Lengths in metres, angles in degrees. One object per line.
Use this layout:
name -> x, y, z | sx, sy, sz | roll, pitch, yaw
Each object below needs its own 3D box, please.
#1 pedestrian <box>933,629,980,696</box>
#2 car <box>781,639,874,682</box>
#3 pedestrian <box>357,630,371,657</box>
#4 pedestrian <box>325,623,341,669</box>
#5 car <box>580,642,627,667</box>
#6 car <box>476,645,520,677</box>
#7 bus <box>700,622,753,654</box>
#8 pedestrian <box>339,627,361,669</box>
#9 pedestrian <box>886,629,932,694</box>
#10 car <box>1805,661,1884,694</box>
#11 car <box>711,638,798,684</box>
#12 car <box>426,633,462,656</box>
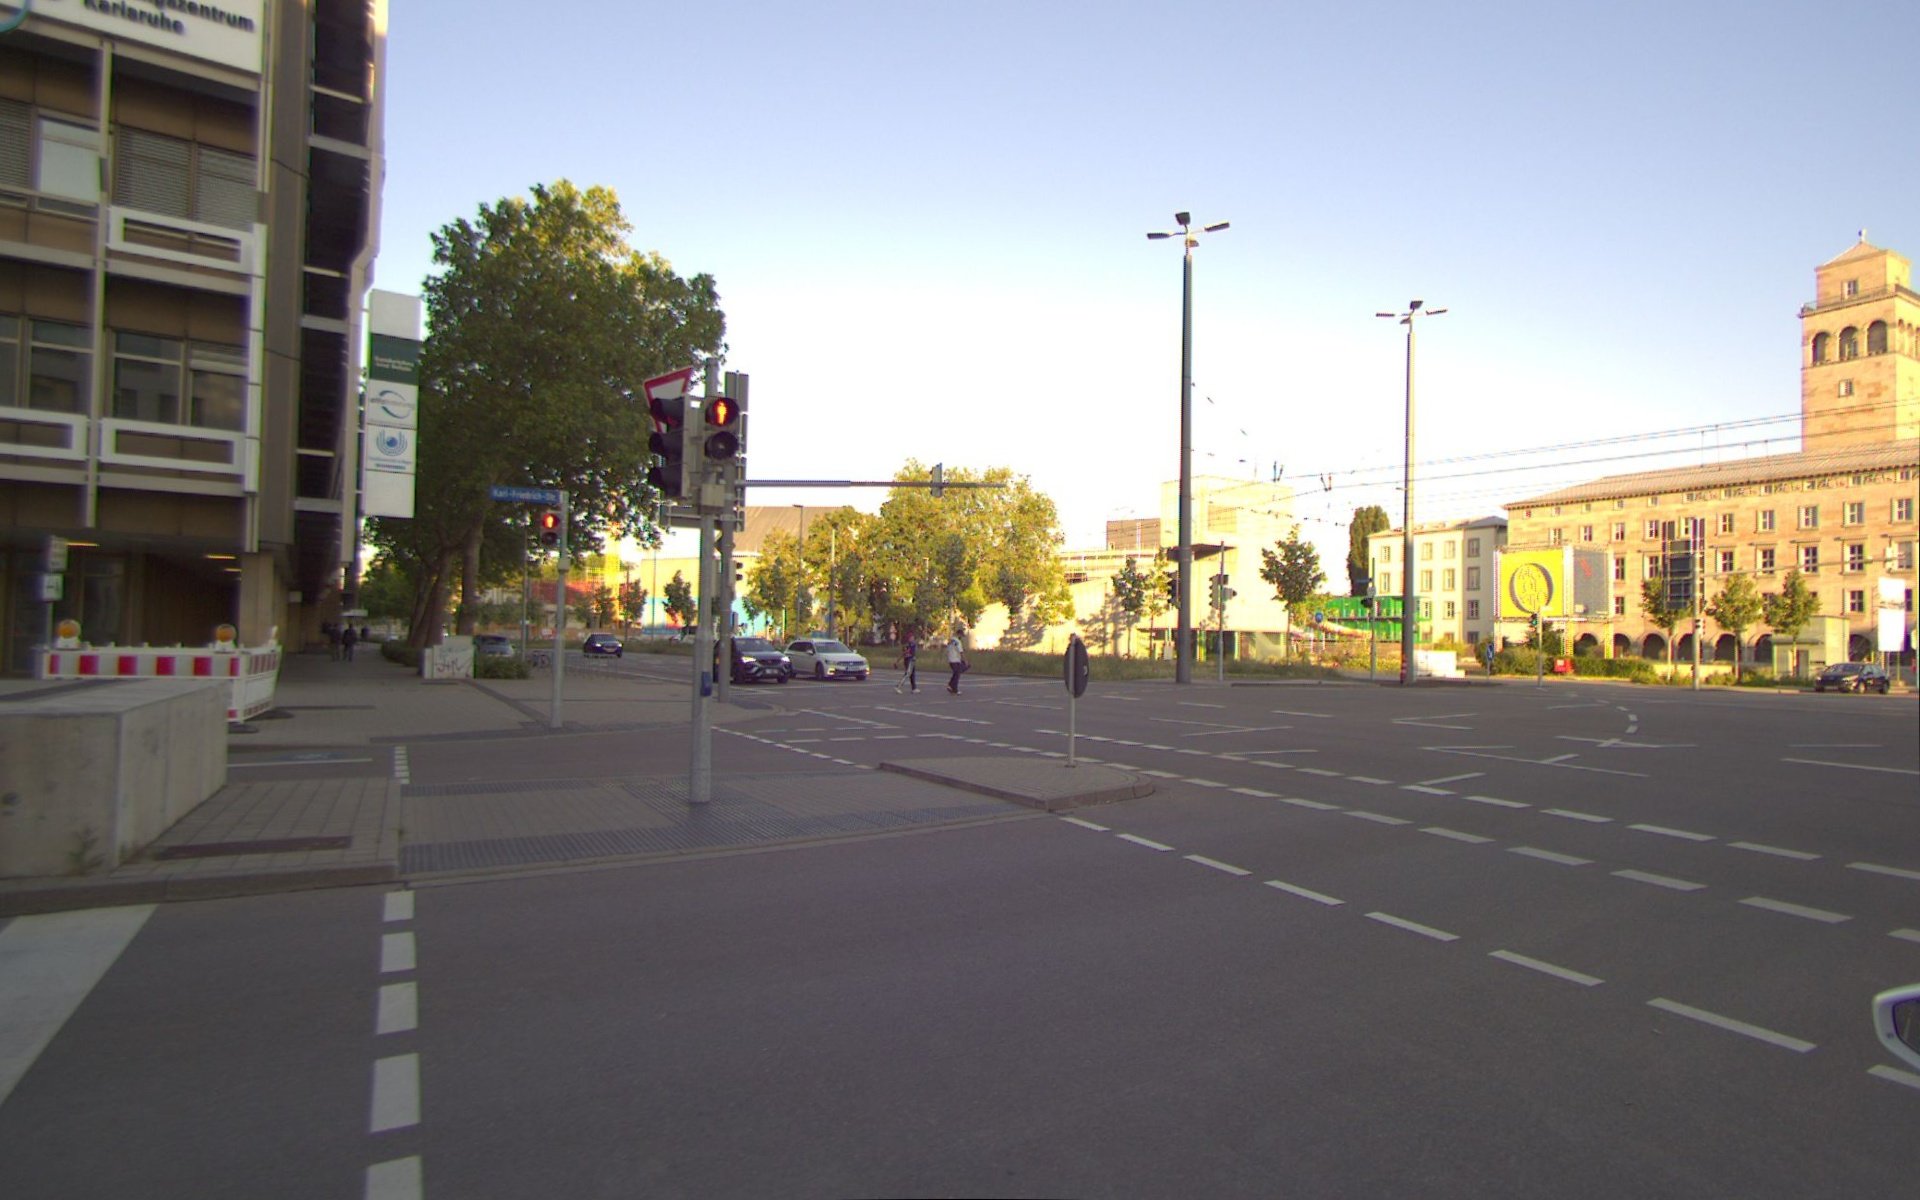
pedestrian -> -0.101, 1.651, 26.775 | 0.949, 1.743, 0.816 | 2, -2, -34
car -> -4.982, 2.197, 37.319 | 1.830, 1.476, 4.555 | 1, -2, -30
pedestrian -> -41.912, 3.078, 70.622 | 0.749, 1.829, 0.715 | 3, -1, -35
pedestrian -> -28.637, 2.111, 45.889 | 0.512, 2.040, 0.576 | 3, -1, -34
car -> -24.120, 3.632, 67.888 | 1.833, 1.605, 4.546 | 2, -2, -35
car -> -24.964, 3.237, 54.226 | 1.722, 1.605, 4.555 | 1, -2, -30
bus -> -28.940, 4.673, 124.125 | 2.960, 3.818, 10.342 | 2, -2, -34
pedestrian -> -27.808, 2.185, 45.806 | 0.749, 1.829, 0.715 | 3, -1, -35
pedestrian -> -1.415, 1.678, 27.698 | 0.949, 1.743, 0.816 | 2, -2, -34
car -> 43.161, 3.773, 48.999 | 4.111, 1.485, 1.813 | 2, -2, -32
car -> -7.192, 2.085, 34.923 | 1.830, 1.476, 3.921 | 1, -2, -30
car -> -38.492, 3.292, 74.917 | 1.726, 1.605, 4.545 | 2, -2, -36
